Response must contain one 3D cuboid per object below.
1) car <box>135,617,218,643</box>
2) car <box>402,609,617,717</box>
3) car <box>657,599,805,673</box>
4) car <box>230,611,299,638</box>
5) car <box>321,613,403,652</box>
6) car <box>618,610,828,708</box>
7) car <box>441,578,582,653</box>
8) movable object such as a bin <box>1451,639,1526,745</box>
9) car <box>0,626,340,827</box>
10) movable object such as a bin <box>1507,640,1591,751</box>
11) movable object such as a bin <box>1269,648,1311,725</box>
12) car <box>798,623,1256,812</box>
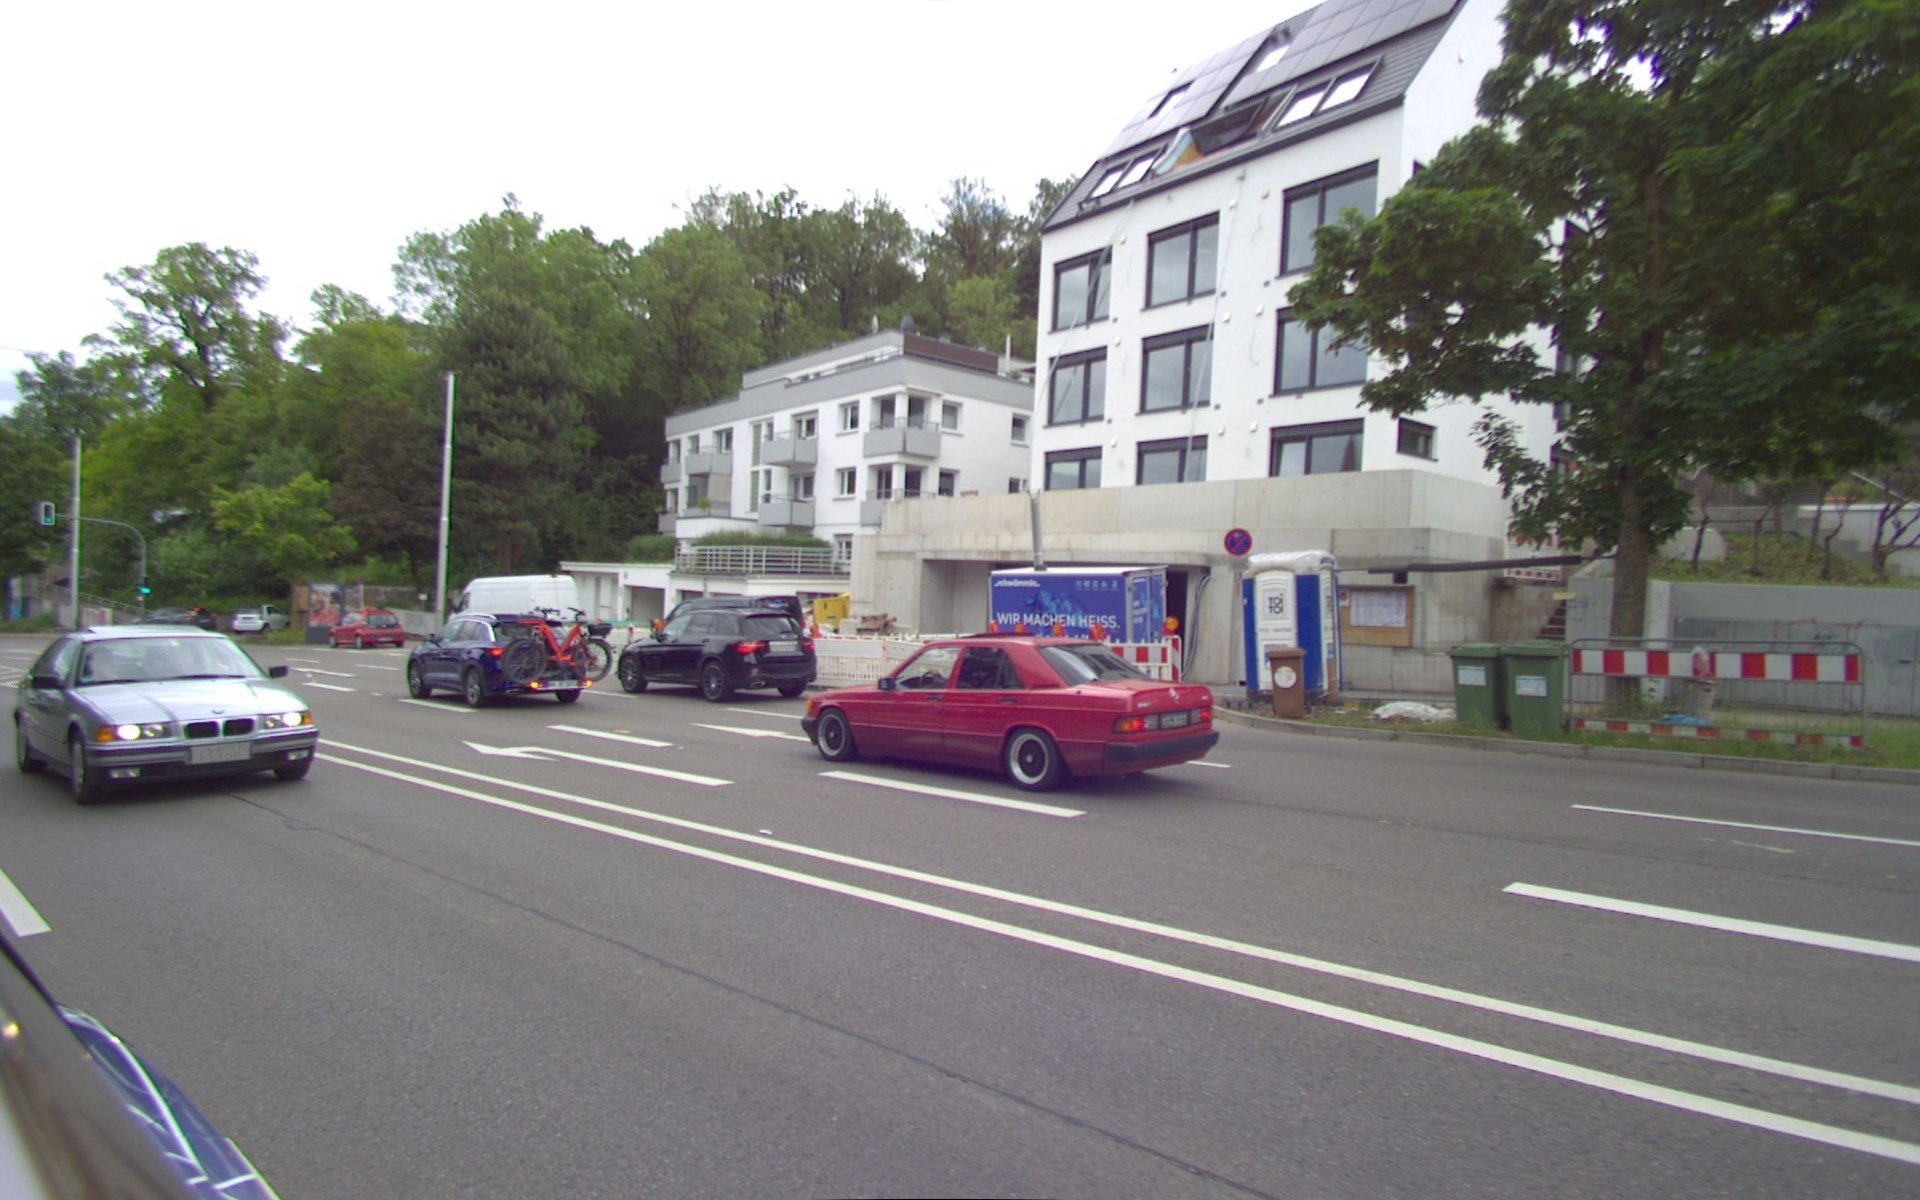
[{"bbox_3d":[-39.745,1.498,51.364,3.260,1.294,1.562,0,-1,11],"label":"car"},{"bbox_3d":[-7.861,0.981,17.429,4.665,1.609,1.756,-1,-1,44],"label":"car"},{"bbox_3d":[-6.030,0.884,26.353,1.785,1.764,4.253,0,0,-45],"label":"car"},{"bbox_3d":[-38.030,1.326,55.408,1.561,1.454,3.295,0,-1,0],"label":"car"},{"bbox_3d":[-23.158,1.242,39.190,3.289,1.454,1.564,-1,-1,36],"label":"car"},{"bbox_3d":[-4.459,1.000,18.700,4.226,1.609,1.756,-1,-1,43],"label":"car"},{"bbox_3d":[-16.589,0.575,37.229,6.526,2.545,1.974,-1,0,39],"label":"car"},{"bbox_3d":[6.051,1.032,11.592,0.577,1.146,0.586,1,-1,-43],"label":"movable object such as a bin"},{"bbox_3d":[-7.481,0.955,9.341,4.616,1.393,1.618,-1,-1,40],"label":"car"},{"bbox_3d":[6.476,1.022,11.128,0.581,1.146,0.646,1,-1,-43],"label":"movable object such as a bin"},{"bbox_3d":[4.378,1.135,13.426,0.322,0.982,0.426,1,-1,-43],"label":"movable object such as a bin"},{"bbox_3d":[0.449,0.938,9.759,4.323,1.392,1.729,-1,-1,44],"label":"car"}]
